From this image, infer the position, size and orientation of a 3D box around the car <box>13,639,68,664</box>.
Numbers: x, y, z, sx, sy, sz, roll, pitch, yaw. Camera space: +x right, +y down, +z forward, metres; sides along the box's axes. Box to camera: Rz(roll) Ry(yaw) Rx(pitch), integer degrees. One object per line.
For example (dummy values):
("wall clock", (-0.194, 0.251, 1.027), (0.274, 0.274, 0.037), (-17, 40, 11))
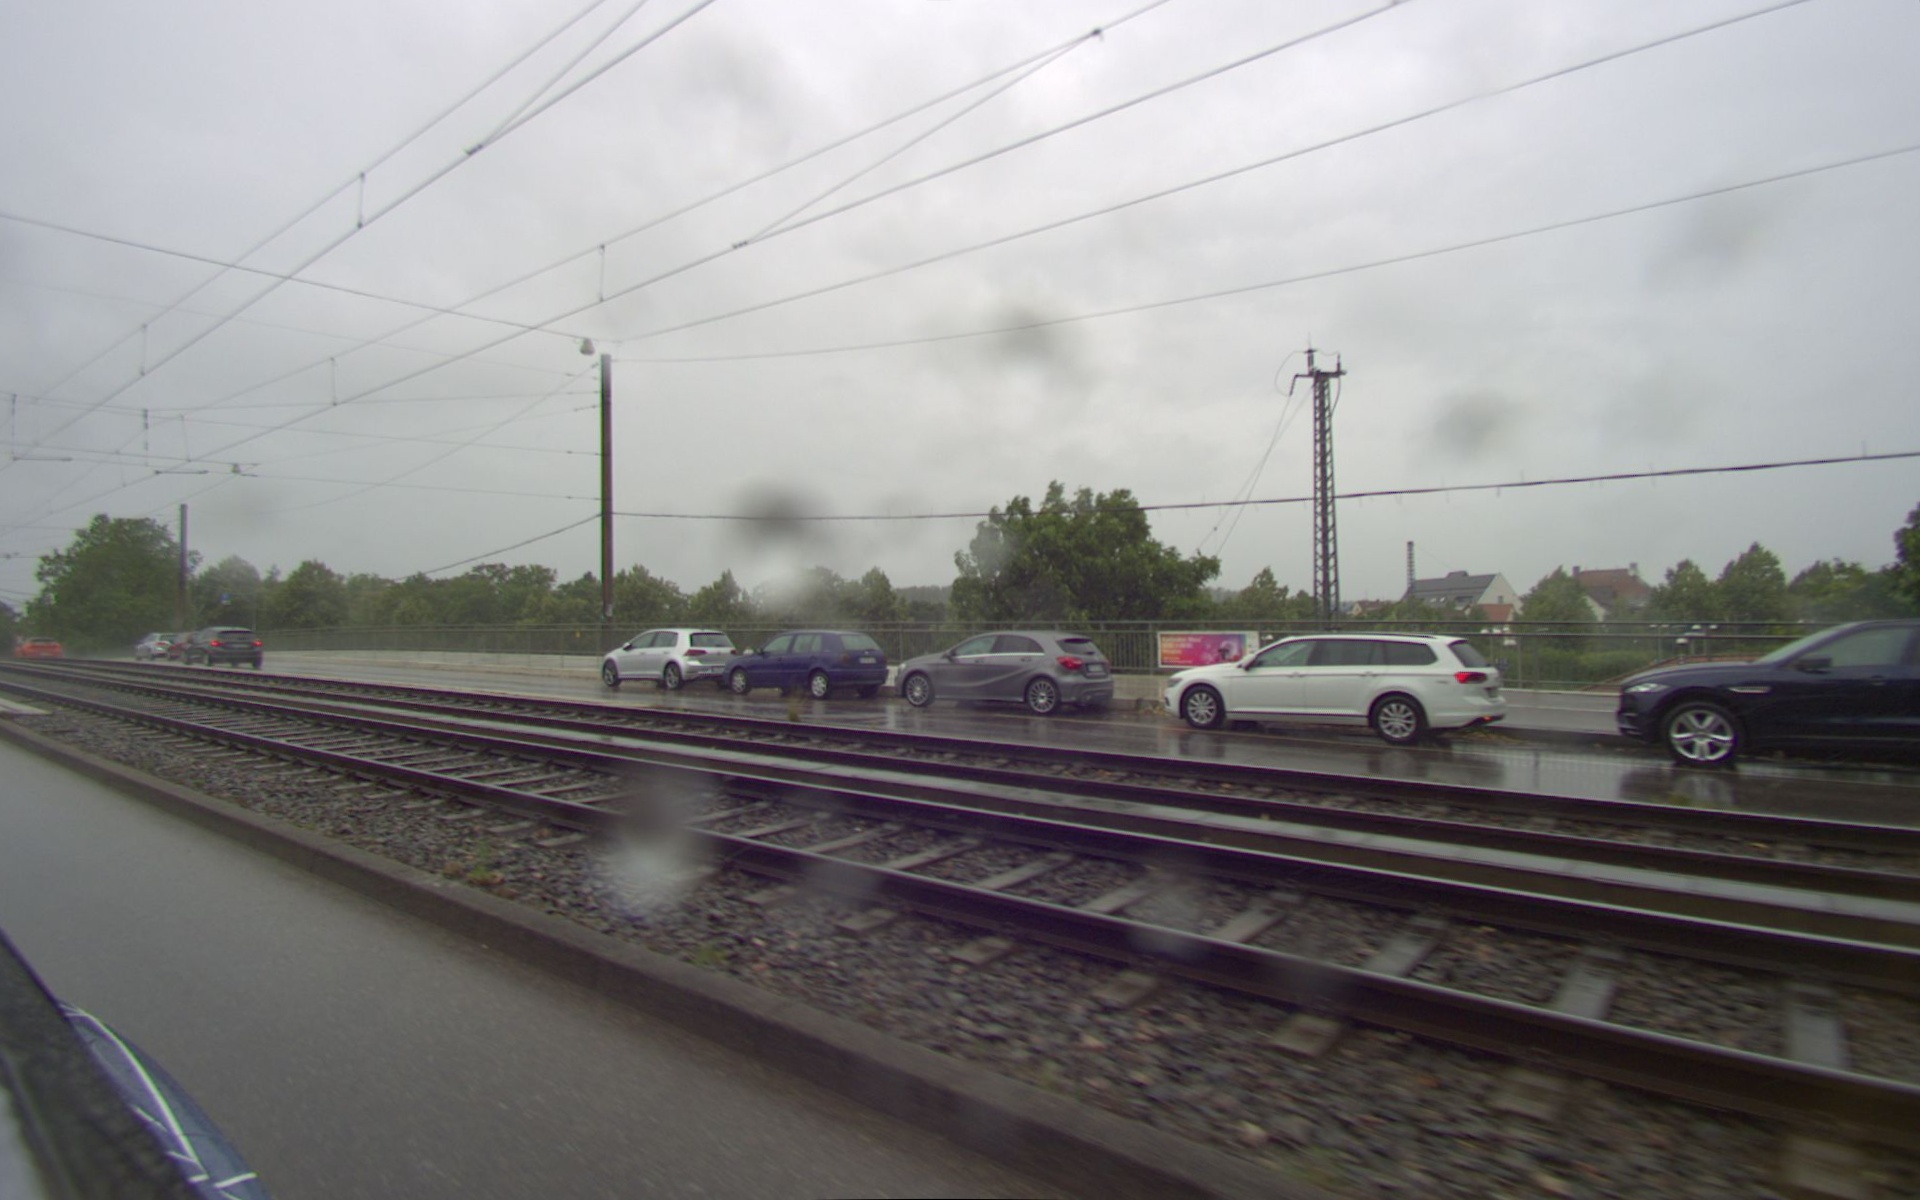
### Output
("car", (-53.384, 2.982, 58.729), (4.080, 1.326, 1.781), (-3, -1, 40))

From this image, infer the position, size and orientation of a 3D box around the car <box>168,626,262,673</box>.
("car", (-27.465, 1.831, 37.261), (4.261, 1.379, 1.798), (-7, -4, 40))

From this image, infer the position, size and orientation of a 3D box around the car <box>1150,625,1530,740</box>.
("car", (5.274, 1.193, 14.526), (4.887, 1.412, 1.491), (-3, -8, 38))

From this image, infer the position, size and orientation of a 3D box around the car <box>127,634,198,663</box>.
("car", (-43.247, 2.664, 54.866), (4.614, 1.467, 1.974), (-3, -5, 38))

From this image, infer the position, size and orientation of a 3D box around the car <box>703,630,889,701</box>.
("car", (-3.635, 1.412, 22.028), (4.275, 1.412, 1.491), (-3, -5, 38))

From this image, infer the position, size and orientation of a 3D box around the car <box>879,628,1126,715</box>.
("car", (0.684, 1.286, 18.397), (4.398, 1.412, 1.493), (-3, -4, 35))

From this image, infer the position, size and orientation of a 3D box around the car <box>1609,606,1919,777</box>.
("car", (9.830, 0.948, 10.704), (4.827, 1.685, 1.491), (-3, -5, 38))

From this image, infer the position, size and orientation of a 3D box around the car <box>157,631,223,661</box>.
("car", (-38.836, 2.349, 51.027), (4.317, 1.467, 1.604), (-3, -5, 39))

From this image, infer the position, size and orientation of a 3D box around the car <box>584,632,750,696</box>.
("car", (-7.359, 1.585, 25.265), (4.314, 1.467, 1.845), (-3, -5, 38))
